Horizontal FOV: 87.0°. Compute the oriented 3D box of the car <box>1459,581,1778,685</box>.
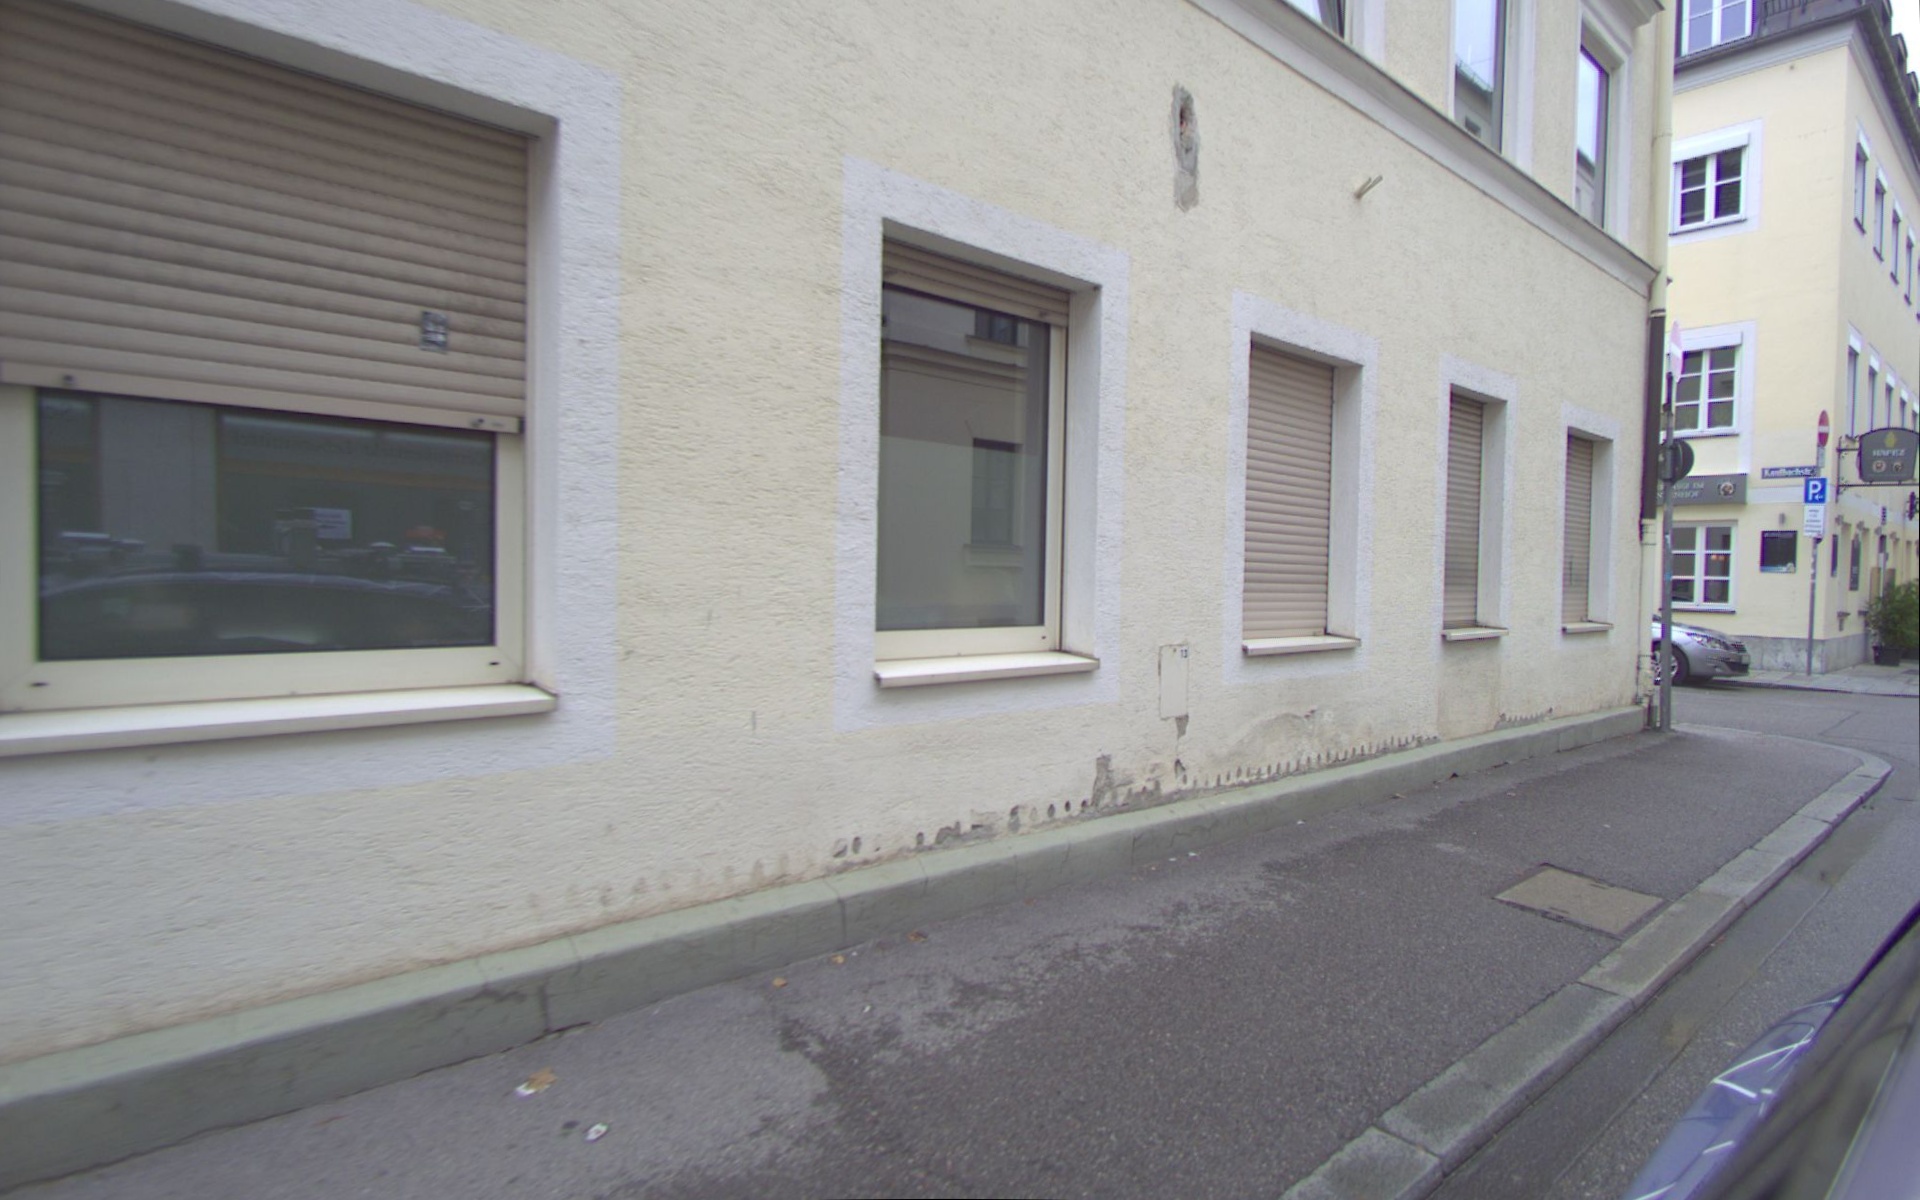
[{"bbox_3d":[10.634,0.469,16.589,1.732,1.459,4.025,3,-1,-38],"label":"car"}]
